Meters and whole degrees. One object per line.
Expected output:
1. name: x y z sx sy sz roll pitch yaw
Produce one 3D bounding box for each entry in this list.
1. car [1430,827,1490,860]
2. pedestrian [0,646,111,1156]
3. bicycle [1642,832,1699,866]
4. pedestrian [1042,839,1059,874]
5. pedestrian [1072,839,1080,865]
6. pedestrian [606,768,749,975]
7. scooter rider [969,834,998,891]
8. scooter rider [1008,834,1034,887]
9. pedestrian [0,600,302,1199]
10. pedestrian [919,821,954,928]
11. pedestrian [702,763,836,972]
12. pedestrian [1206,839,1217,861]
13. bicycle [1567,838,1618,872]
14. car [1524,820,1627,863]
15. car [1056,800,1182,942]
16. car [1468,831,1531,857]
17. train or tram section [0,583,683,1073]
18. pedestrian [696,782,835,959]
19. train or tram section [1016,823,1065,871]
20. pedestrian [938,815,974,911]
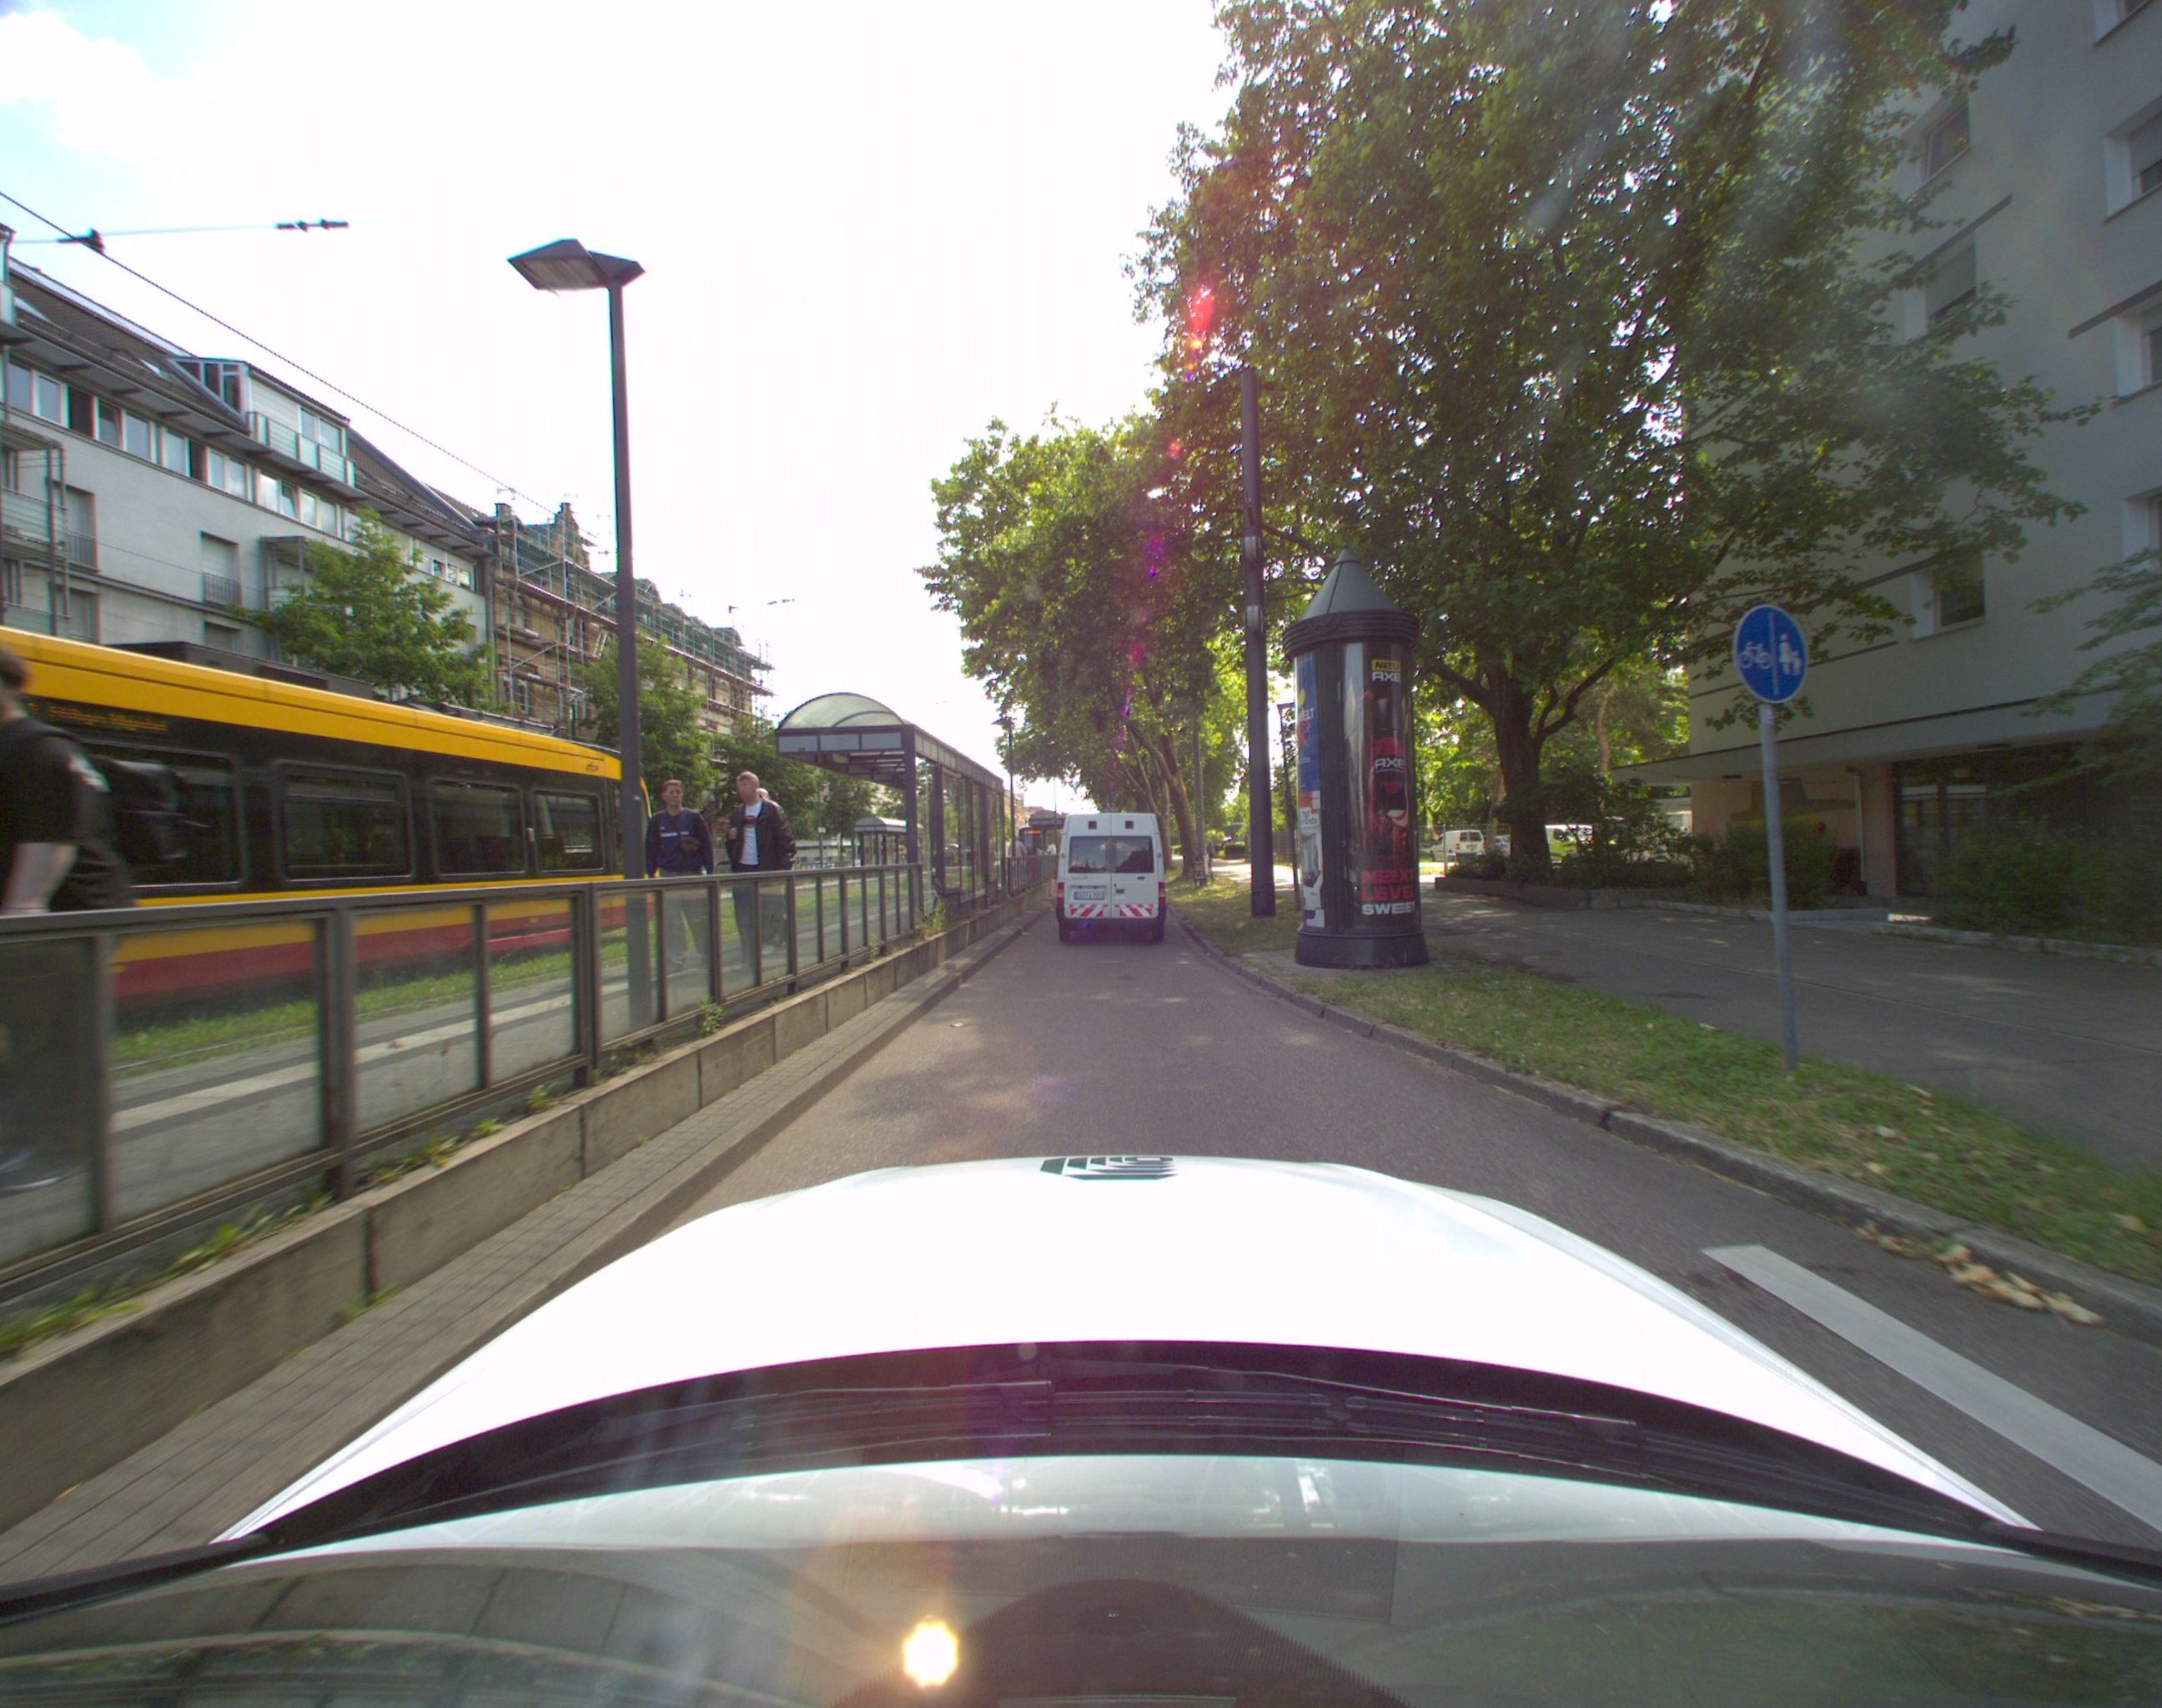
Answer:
1. car: 22.303 -0.618 48.121 1.799 1.814 4.344 -2 0 4
2. pedestrian: -4.276 0.175 2.816 0.698 1.849 0.908 -2 0 2
3. bicycle: 19.475 -0.159 26.946 0.514 1.065 1.725 -2 0 -4
4. pedestrian: -1.342 0.103 36.171 0.673 1.515 0.596 -2 0 1
5. pedestrian: -0.301 -0.121 51.078 0.384 1.591 0.439 -2 0 2
6. pedestrian: -3.788 0.152 7.747 0.709 1.801 1.133 -2 0 2
7. scooter rider: -2.849 0.236 23.885 0.652 1.614 0.901 -2 0 2
8. scooter rider: -1.833 0.195 25.071 0.652 1.570 0.901 -2 0 2
9. pedestrian: -3.550 0.147 2.918 0.698 1.849 0.789 -2 0 2
10. pedestrian: -2.655 0.367 14.938 0.472 1.900 0.533 -2 0 -22
11. pedestrian: -2.984 0.121 7.901 0.807 1.872 1.031 -2 0 2
12. pedestrian: 9.920 -0.298 62.039 0.691 1.625 0.637 -2 0 2
13. bicycle: 16.943 0.022 27.027 0.514 1.065 1.725 -2 0 -4
14. car: 22.007 -0.540 36.479 1.731 1.755 4.773 -2 0 1
15. car: 0.727 0.264 16.148 2.039 2.333 4.717 -2 1 2
16. car: 24.824 -0.587 48.486 1.800 1.402 4.050 -2 0 2
17. train or tram section: -9.126 -0.176 8.714 2.712 3.584 13.025 -2 0 3
18. pedestrian: -3.490 0.167 9.181 0.883 1.801 1.495 -2 0 2
19. train or tram section: -3.166 -0.580 67.848 2.712 3.584 13.025 -2 0 3
20. pedestrian: -2.198 0.150 14.378 0.468 1.641 0.537 -2 0 1
